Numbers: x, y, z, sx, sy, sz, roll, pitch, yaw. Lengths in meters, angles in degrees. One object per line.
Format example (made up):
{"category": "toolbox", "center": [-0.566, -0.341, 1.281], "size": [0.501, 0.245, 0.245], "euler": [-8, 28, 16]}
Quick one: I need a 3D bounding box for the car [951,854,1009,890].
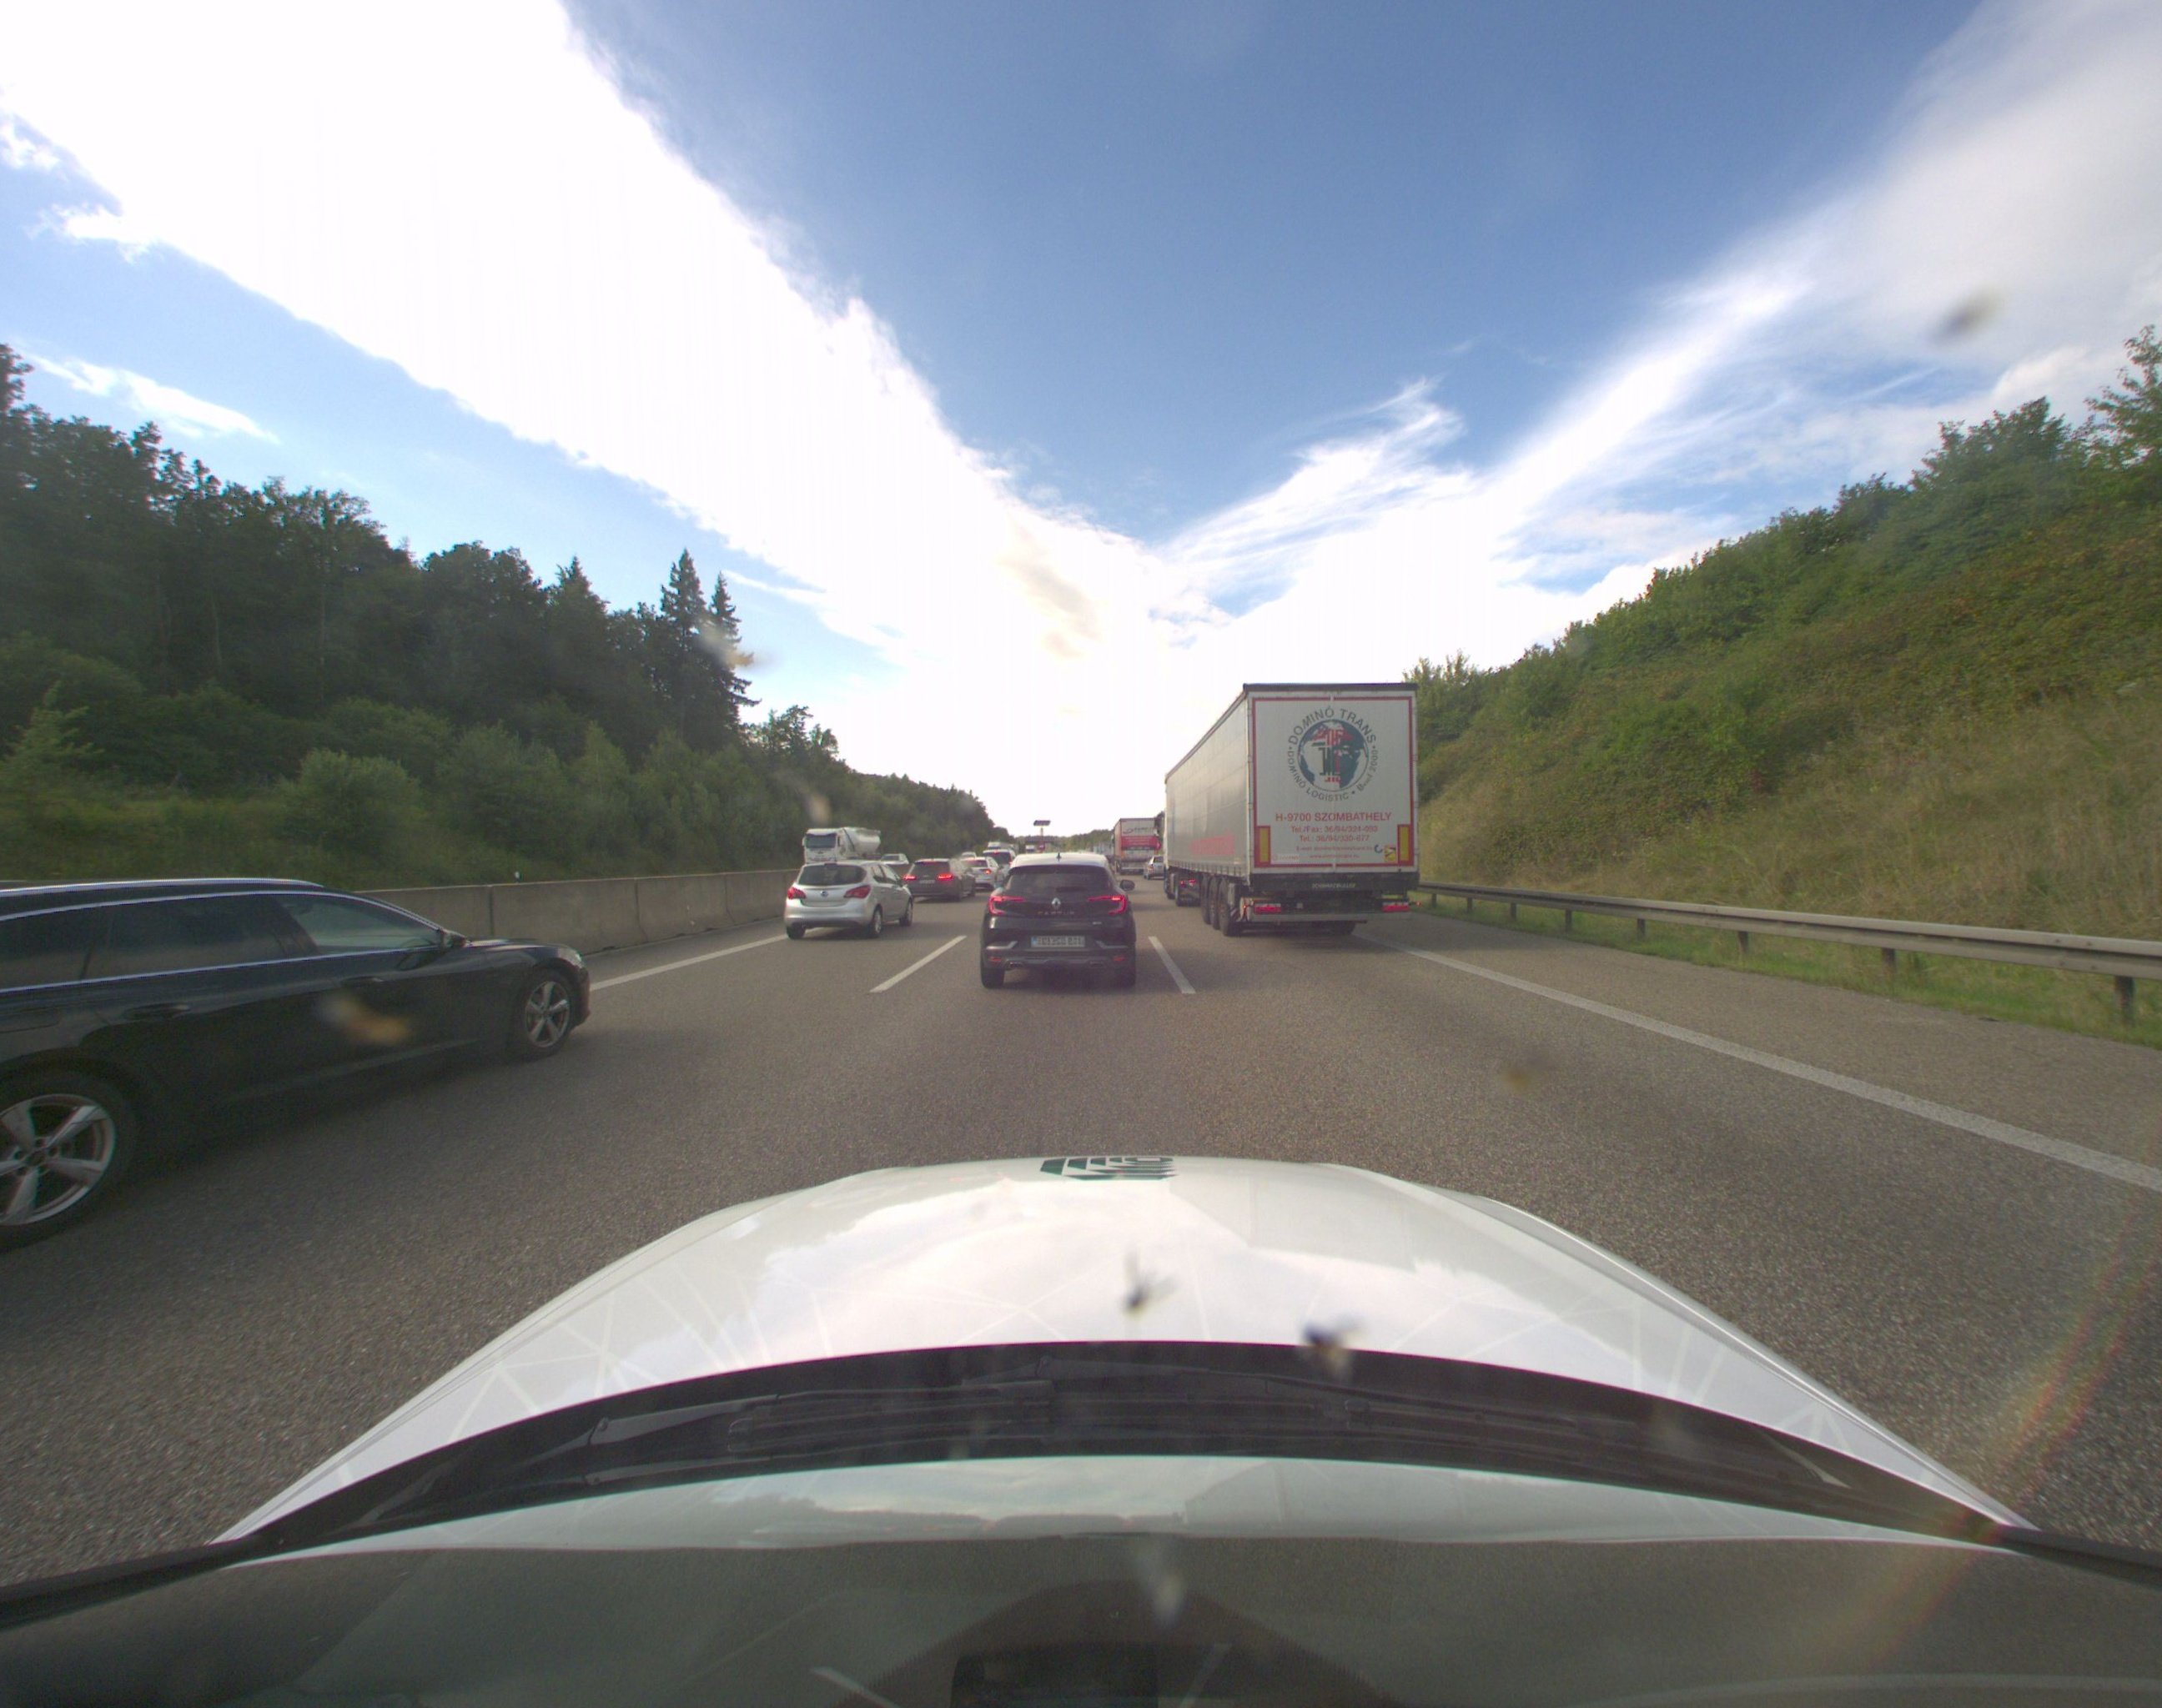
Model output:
{"category": "car", "center": [-4.326, 0.759, 35.531], "size": [1.797, 1.461, 4.310], "euler": [-1, 0, 2]}

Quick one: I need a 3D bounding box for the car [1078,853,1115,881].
{"category": "car", "center": [0.887, 0.733, 45.873], "size": [1.986, 1.514, 4.001], "euler": [0, -1, 1]}

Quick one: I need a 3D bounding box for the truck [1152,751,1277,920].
{"category": "truck", "center": [3.978, -0.510, 25.610], "size": [2.987, 4.667, 5.939], "euler": [-1, 0, 1]}

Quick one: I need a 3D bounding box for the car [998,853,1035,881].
{"category": "car", "center": [-3.975, 0.802, 50.563], "size": [1.848, 1.641, 3.927], "euler": [0, -1, 2]}

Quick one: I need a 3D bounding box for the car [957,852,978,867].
{"category": "car", "center": [-13.607, 0.670, 97.918], "size": [1.846, 1.712, 4.324], "euler": [0, 0, 1]}

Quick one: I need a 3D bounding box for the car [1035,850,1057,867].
{"category": "car", "center": [-3.505, 0.450, 81.935], "size": [1.986, 1.613, 4.001], "euler": [-1, 0, 1]}

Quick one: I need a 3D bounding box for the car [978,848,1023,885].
{"category": "car", "center": [-4.123, 0.636, 42.424], "size": [1.905, 1.789, 4.417], "euler": [0, -1, 0]}

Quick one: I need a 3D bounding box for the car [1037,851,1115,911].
{"category": "car", "center": [-0.082, 0.709, 22.832], "size": [1.986, 1.514, 4.001], "euler": [0, -1, 1]}

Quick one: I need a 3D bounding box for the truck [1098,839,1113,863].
{"category": "truck", "center": [5.377, -0.614, 179.089], "size": [3.155, 5.159, 12.742], "euler": [0, -1, 2]}

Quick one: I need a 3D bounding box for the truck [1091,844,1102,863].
{"category": "truck", "center": [4.699, -0.072, 243.801], "size": [3.155, 5.505, 12.742], "euler": [0, -1, 2]}

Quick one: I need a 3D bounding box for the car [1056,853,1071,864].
{"category": "car", "center": [-2.570, 0.619, 119.323], "size": [1.986, 1.613, 4.001], "euler": [-1, 0, 1]}

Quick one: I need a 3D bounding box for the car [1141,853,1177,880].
{"category": "car", "center": [4.563, 0.731, 48.104], "size": [1.799, 1.533, 3.925], "euler": [0, -1, 0]}

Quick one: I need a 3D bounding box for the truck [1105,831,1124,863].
{"category": "truck", "center": [5.990, -1.153, 144.314], "size": [3.153, 5.505, 12.747], "euler": [0, -1, 3]}

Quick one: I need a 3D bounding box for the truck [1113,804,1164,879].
{"category": "truck", "center": [4.168, -0.803, 61.846], "size": [3.352, 5.044, 12.742], "euler": [0, -1, 2]}

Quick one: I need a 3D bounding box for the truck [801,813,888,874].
{"category": "truck", "center": [-18.738, -0.713, 65.786], "size": [2.922, 4.354, 13.910], "euler": [0, -1, 0]}

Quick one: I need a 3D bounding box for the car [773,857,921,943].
{"category": "car", "center": [-4.584, 0.823, 16.573], "size": [1.741, 1.465, 4.041], "euler": [-1, 0, 1]}

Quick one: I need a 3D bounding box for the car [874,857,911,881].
{"category": "car", "center": [-14.811, 1.169, 64.253], "size": [1.846, 1.810, 4.324], "euler": [0, 0, 1]}

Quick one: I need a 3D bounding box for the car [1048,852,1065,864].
{"category": "car", "center": [-3.199, 0.520, 106.592], "size": [1.986, 1.613, 4.001], "euler": [-1, 0, 1]}

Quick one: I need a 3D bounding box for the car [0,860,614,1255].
{"category": "car", "center": [-5.005, 0.796, 4.524], "size": [1.875, 1.471, 4.854], "euler": [0, 0, 2]}

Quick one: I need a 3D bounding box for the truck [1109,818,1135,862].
{"category": "truck", "center": [5.315, -1.697, 108.080], "size": [3.155, 5.505, 12.742], "euler": [0, -1, 2]}

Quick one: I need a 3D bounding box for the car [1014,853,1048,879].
{"category": "car", "center": [-3.472, 0.831, 56.885], "size": [1.986, 1.722, 4.001], "euler": [0, -1, 1]}

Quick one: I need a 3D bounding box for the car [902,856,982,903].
{"category": "car", "center": [-4.718, 0.807, 28.260], "size": [1.836, 1.456, 4.749], "euler": [0, 0, 1]}

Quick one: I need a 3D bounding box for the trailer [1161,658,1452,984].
{"category": "trailer", "center": [3.889, -0.482, 18.338], "size": [2.992, 4.661, 13.290], "euler": [0, 0, 1]}

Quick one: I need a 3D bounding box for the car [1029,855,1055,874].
{"category": "car", "center": [-3.353, 0.951, 71.360], "size": [1.986, 1.613, 4.001], "euler": [0, -1, 1]}

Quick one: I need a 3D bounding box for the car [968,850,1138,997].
{"category": "car", "center": [-0.181, 0.749, 10.689], "size": [1.797, 1.552, 4.003], "euler": [-1, 0, 3]}

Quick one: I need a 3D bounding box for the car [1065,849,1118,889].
{"category": "car", "center": [0.458, 0.582, 32.775], "size": [1.986, 1.514, 4.001], "euler": [0, -1, 1]}

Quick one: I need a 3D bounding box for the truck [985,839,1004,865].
{"category": "truck", "center": [-17.556, -0.384, 165.906], "size": [3.029, 5.253, 6.883], "euler": [0, -1, 1]}

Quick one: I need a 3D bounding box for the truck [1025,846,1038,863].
{"category": "truck", "center": [-14.440, 0.151, 238.136], "size": [3.078, 5.101, 7.141], "euler": [0, -1, 1]}
